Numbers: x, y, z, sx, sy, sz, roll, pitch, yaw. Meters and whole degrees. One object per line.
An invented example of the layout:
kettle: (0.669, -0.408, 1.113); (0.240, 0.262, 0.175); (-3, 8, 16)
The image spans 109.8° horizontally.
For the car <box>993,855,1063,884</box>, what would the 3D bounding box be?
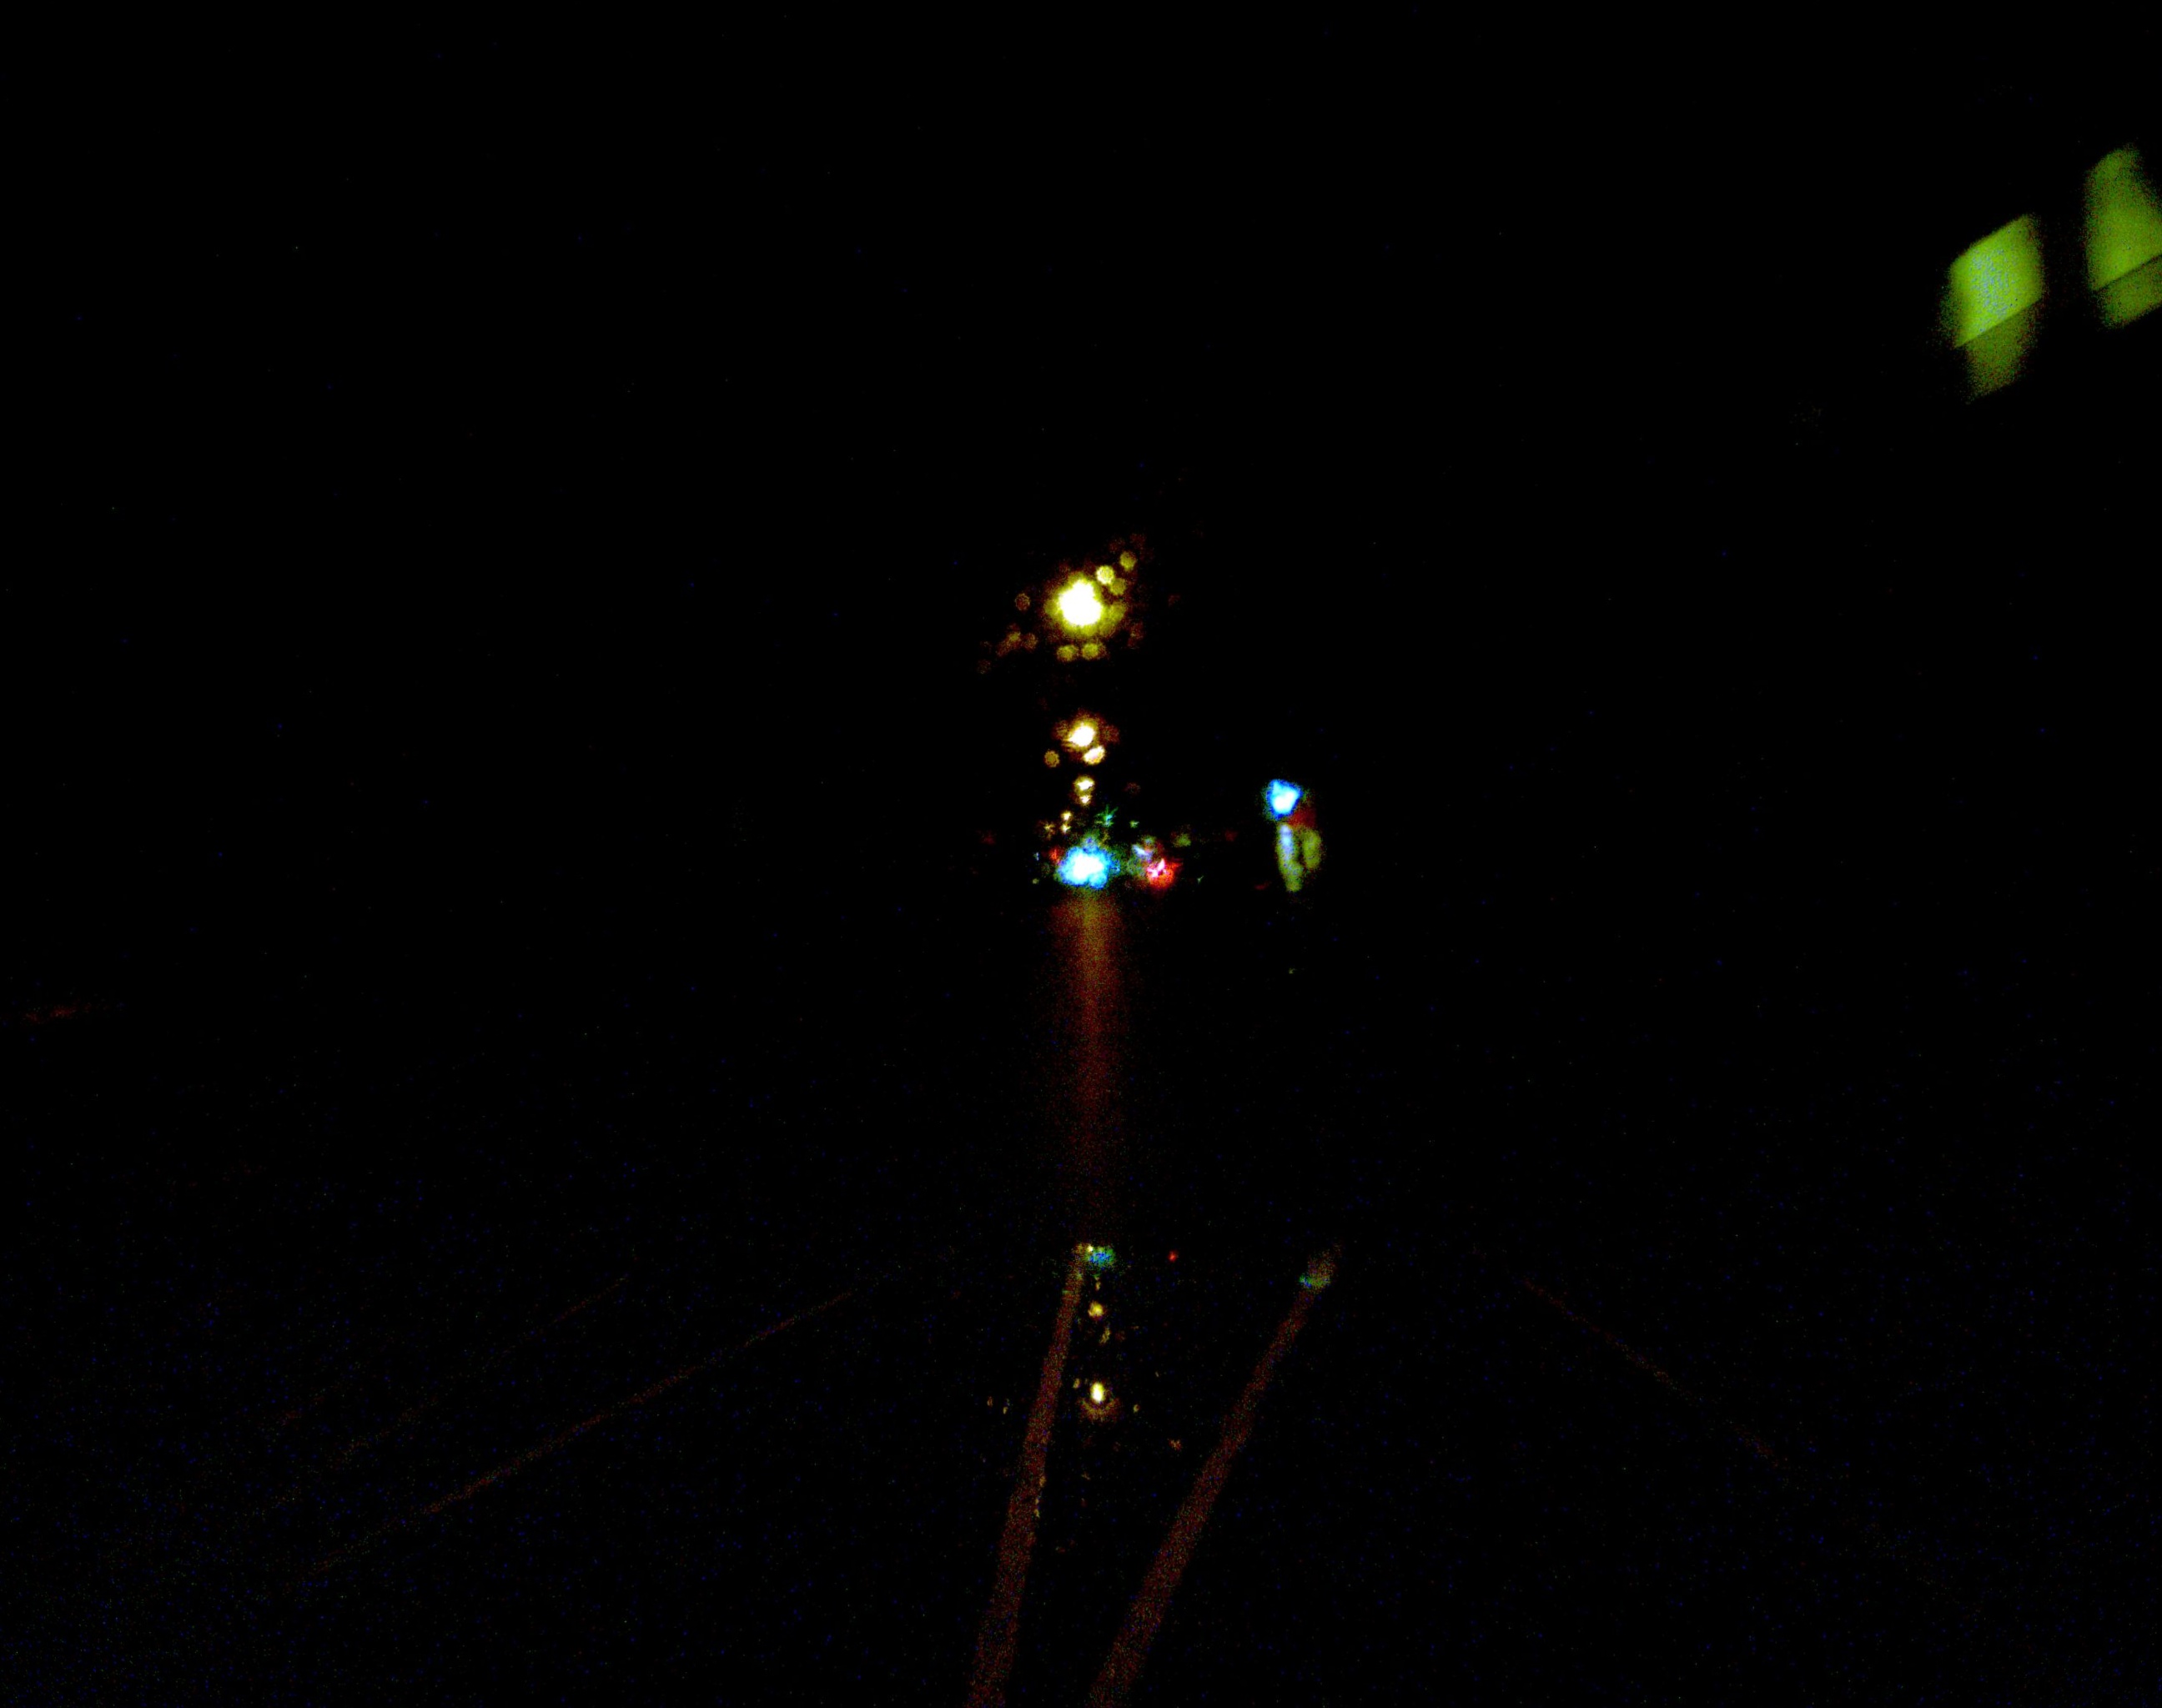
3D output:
car: (-3.465, 1.027, 49.873); (4.256, 1.848, 1.712); (1, 0, -35)

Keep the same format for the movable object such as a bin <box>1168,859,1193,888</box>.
movable object such as a bin: (5.214, 1.011, 39.776); (1.167, 1.451, 1.107); (-3, 0, 3)

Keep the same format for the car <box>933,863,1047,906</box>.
car: (-3.523, 1.134, 29.603); (4.007, 1.543, 1.800); (0, 0, -34)

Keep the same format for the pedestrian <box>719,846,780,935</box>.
pedestrian: (-7.131, 0.774, 16.377); (0.871, 1.845, 0.993); (1, 0, -2)

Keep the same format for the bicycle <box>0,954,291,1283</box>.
bicycle: (-4.639, 1.143, 3.765); (0.520, 1.069, 1.823); (0, 0, -30)

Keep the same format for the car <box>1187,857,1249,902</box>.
car: (5.165, 0.920, 29.037); (1.607, 1.543, 4.025); (-2, -1, 0)

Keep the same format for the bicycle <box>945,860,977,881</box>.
bicycle: (-8.038, 1.114, 50.865); (1.975, 1.327, 0.783); (2, 0, 7)

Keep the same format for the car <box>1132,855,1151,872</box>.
car: (6.644, 1.050, 84.225); (1.871, 1.835, 4.827); (0, 0, 1)

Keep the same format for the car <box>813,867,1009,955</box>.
car: (-3.515, 1.100, 16.015); (3.660, 1.571, 1.588); (-1, 0, -38)

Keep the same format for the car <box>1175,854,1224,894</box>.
car: (5.354, 0.872, 34.697); (1.607, 1.696, 3.721); (-2, 0, 0)

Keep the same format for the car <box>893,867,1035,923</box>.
car: (-3.329, 1.115, 21.848); (3.691, 1.452, 1.600); (0, 0, -34)

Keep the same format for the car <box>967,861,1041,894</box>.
car: (-3.847, 1.151, 38.192); (3.407, 1.533, 1.573); (0, 0, -35)

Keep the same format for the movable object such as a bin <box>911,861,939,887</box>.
movable object such as a bin: (-8.492, 1.085, 41.380); (1.258, 1.364, 0.999); (3, 0, 1)

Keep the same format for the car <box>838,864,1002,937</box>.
car: (-3.978, 1.075, 18.851); (3.659, 1.571, 1.589); (-1, 0, -27)

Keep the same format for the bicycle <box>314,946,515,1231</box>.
bicycle: (-3.678, 1.165, 4.332); (0.520, 1.069, 1.823); (0, 0, -30)

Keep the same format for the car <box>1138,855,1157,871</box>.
car: (6.476, 0.832, 74.447); (1.550, 1.434, 3.563); (-3, 0, 0)

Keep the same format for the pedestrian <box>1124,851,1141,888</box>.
pedestrian: (2.820, 0.856, 41.919); (0.645, 2.001, 0.676); (1, -1, -30)

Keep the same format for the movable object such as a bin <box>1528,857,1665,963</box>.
movable object such as a bin: (7.558, 0.787, 11.230); (1.143, 1.411, 1.248); (-3, 0, 3)

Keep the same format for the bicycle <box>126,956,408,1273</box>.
bicycle: (-4.166, 1.195, 4.046); (0.520, 1.069, 1.823); (0, 0, -30)

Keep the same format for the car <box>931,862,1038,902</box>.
car: (-4.057, 1.152, 32.165); (4.008, 1.543, 1.994); (0, 0, -37)

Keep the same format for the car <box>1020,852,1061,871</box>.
car: (-5.260, 0.974, 98.892); (4.951, 2.327, 2.226); (0, 0, -34)

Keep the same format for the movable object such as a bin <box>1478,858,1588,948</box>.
movable object such as a bin: (7.616, 0.795, 12.879); (1.143, 1.411, 1.154); (-3, 0, 3)

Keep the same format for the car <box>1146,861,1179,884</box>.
car: (5.139, 1.121, 48.426); (1.658, 1.351, 4.222); (-1, 0, 0)

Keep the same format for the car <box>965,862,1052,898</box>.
car: (-3.333, 1.153, 35.011); (3.659, 1.533, 1.556); (0, 0, -29)

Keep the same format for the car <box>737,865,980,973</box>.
car: (-3.736, 1.001, 12.939); (3.660, 1.571, 1.588); (1, 0, -33)

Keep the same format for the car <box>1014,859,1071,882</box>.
car: (-3.063, 1.296, 60.537); (4.113, 1.754, 1.855); (0, -1, -27)

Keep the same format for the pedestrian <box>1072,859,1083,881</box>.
pedestrian: (-0.300, 1.257, 61.767); (0.824, 1.760, 1.177); (-1, 0, 0)

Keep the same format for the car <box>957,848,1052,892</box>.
car: (-4.093, 0.812, 40.801); (4.734, 2.235, 1.941); (0, 0, -35)

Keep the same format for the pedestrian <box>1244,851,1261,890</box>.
pedestrian: (7.739, 0.735, 34.284); (0.641, 1.770, 0.549); (-1, 0, 1)

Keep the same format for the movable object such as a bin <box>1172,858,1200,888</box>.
movable object such as a bin: (5.313, 0.968, 38.538); (1.265, 1.451, 1.151); (-3, 0, 3)

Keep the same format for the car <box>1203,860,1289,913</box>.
car: (5.005, 0.942, 23.569); (1.690, 1.447, 4.316); (-2, -1, 0)

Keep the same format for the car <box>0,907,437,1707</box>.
car: (-3.878, 0.926, 1.271); (4.007, 1.484, 1.730); (1, 0, -30)
